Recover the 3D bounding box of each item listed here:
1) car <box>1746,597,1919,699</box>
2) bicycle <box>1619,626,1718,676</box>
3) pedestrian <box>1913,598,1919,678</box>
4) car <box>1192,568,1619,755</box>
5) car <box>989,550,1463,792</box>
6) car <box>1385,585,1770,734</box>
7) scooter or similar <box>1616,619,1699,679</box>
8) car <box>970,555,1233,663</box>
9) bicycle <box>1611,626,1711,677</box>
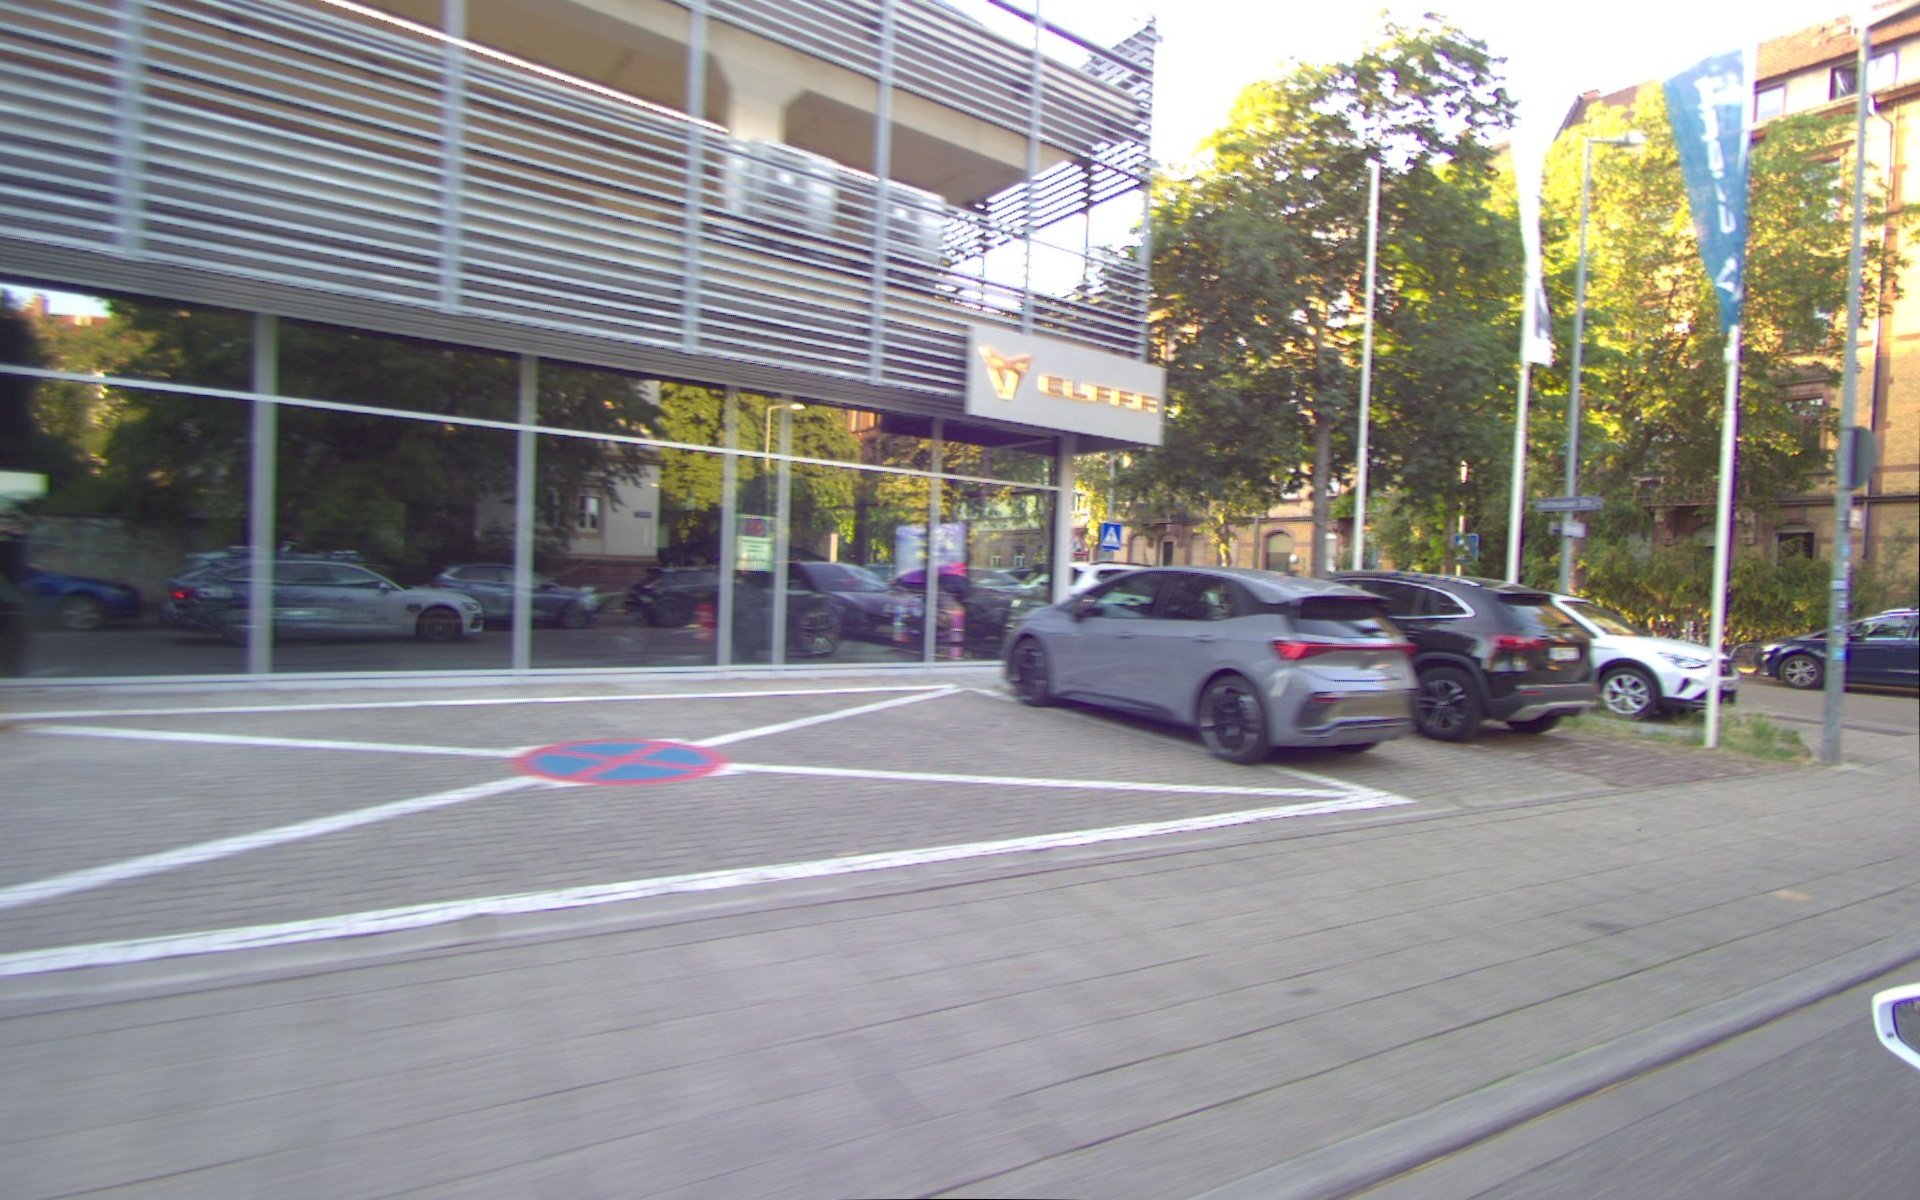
[{"bbox_3d":[18.225,0.925,19.083,1.901,1.756,4.796,0,3,-35],"label":"car"},{"bbox_3d":[16.507,1.174,23.434,1.831,1.042,0.444,2,2,37],"label":"bicycle"},{"bbox_3d":[20.228,0.789,20.839,0.443,1.657,0.539,0,2,-34],"label":"pedestrian"},{"bbox_3d":[4.654,0.495,11.122,1.745,1.640,4.045,0,2,-31],"label":"car"},{"bbox_3d":[2.194,0.431,9.446,1.891,1.640,4.107,0,4,-31],"label":"car"},{"bbox_3d":[8.220,0.664,13.750,1.900,1.495,4.021,0,4,-33],"label":"car"},{"bbox_3d":[15.639,1.077,22.542,1.493,1.241,0.444,2,2,37],"label":"scooter or similar"},{"bbox_3d":[2.379,0.152,16.511,4.178,1.571,1.692,2,1,-33],"label":"car"},{"bbox_3d":[16.085,1.173,23.089,1.831,1.042,0.444,2,2,37],"label":"bicycle"}]
